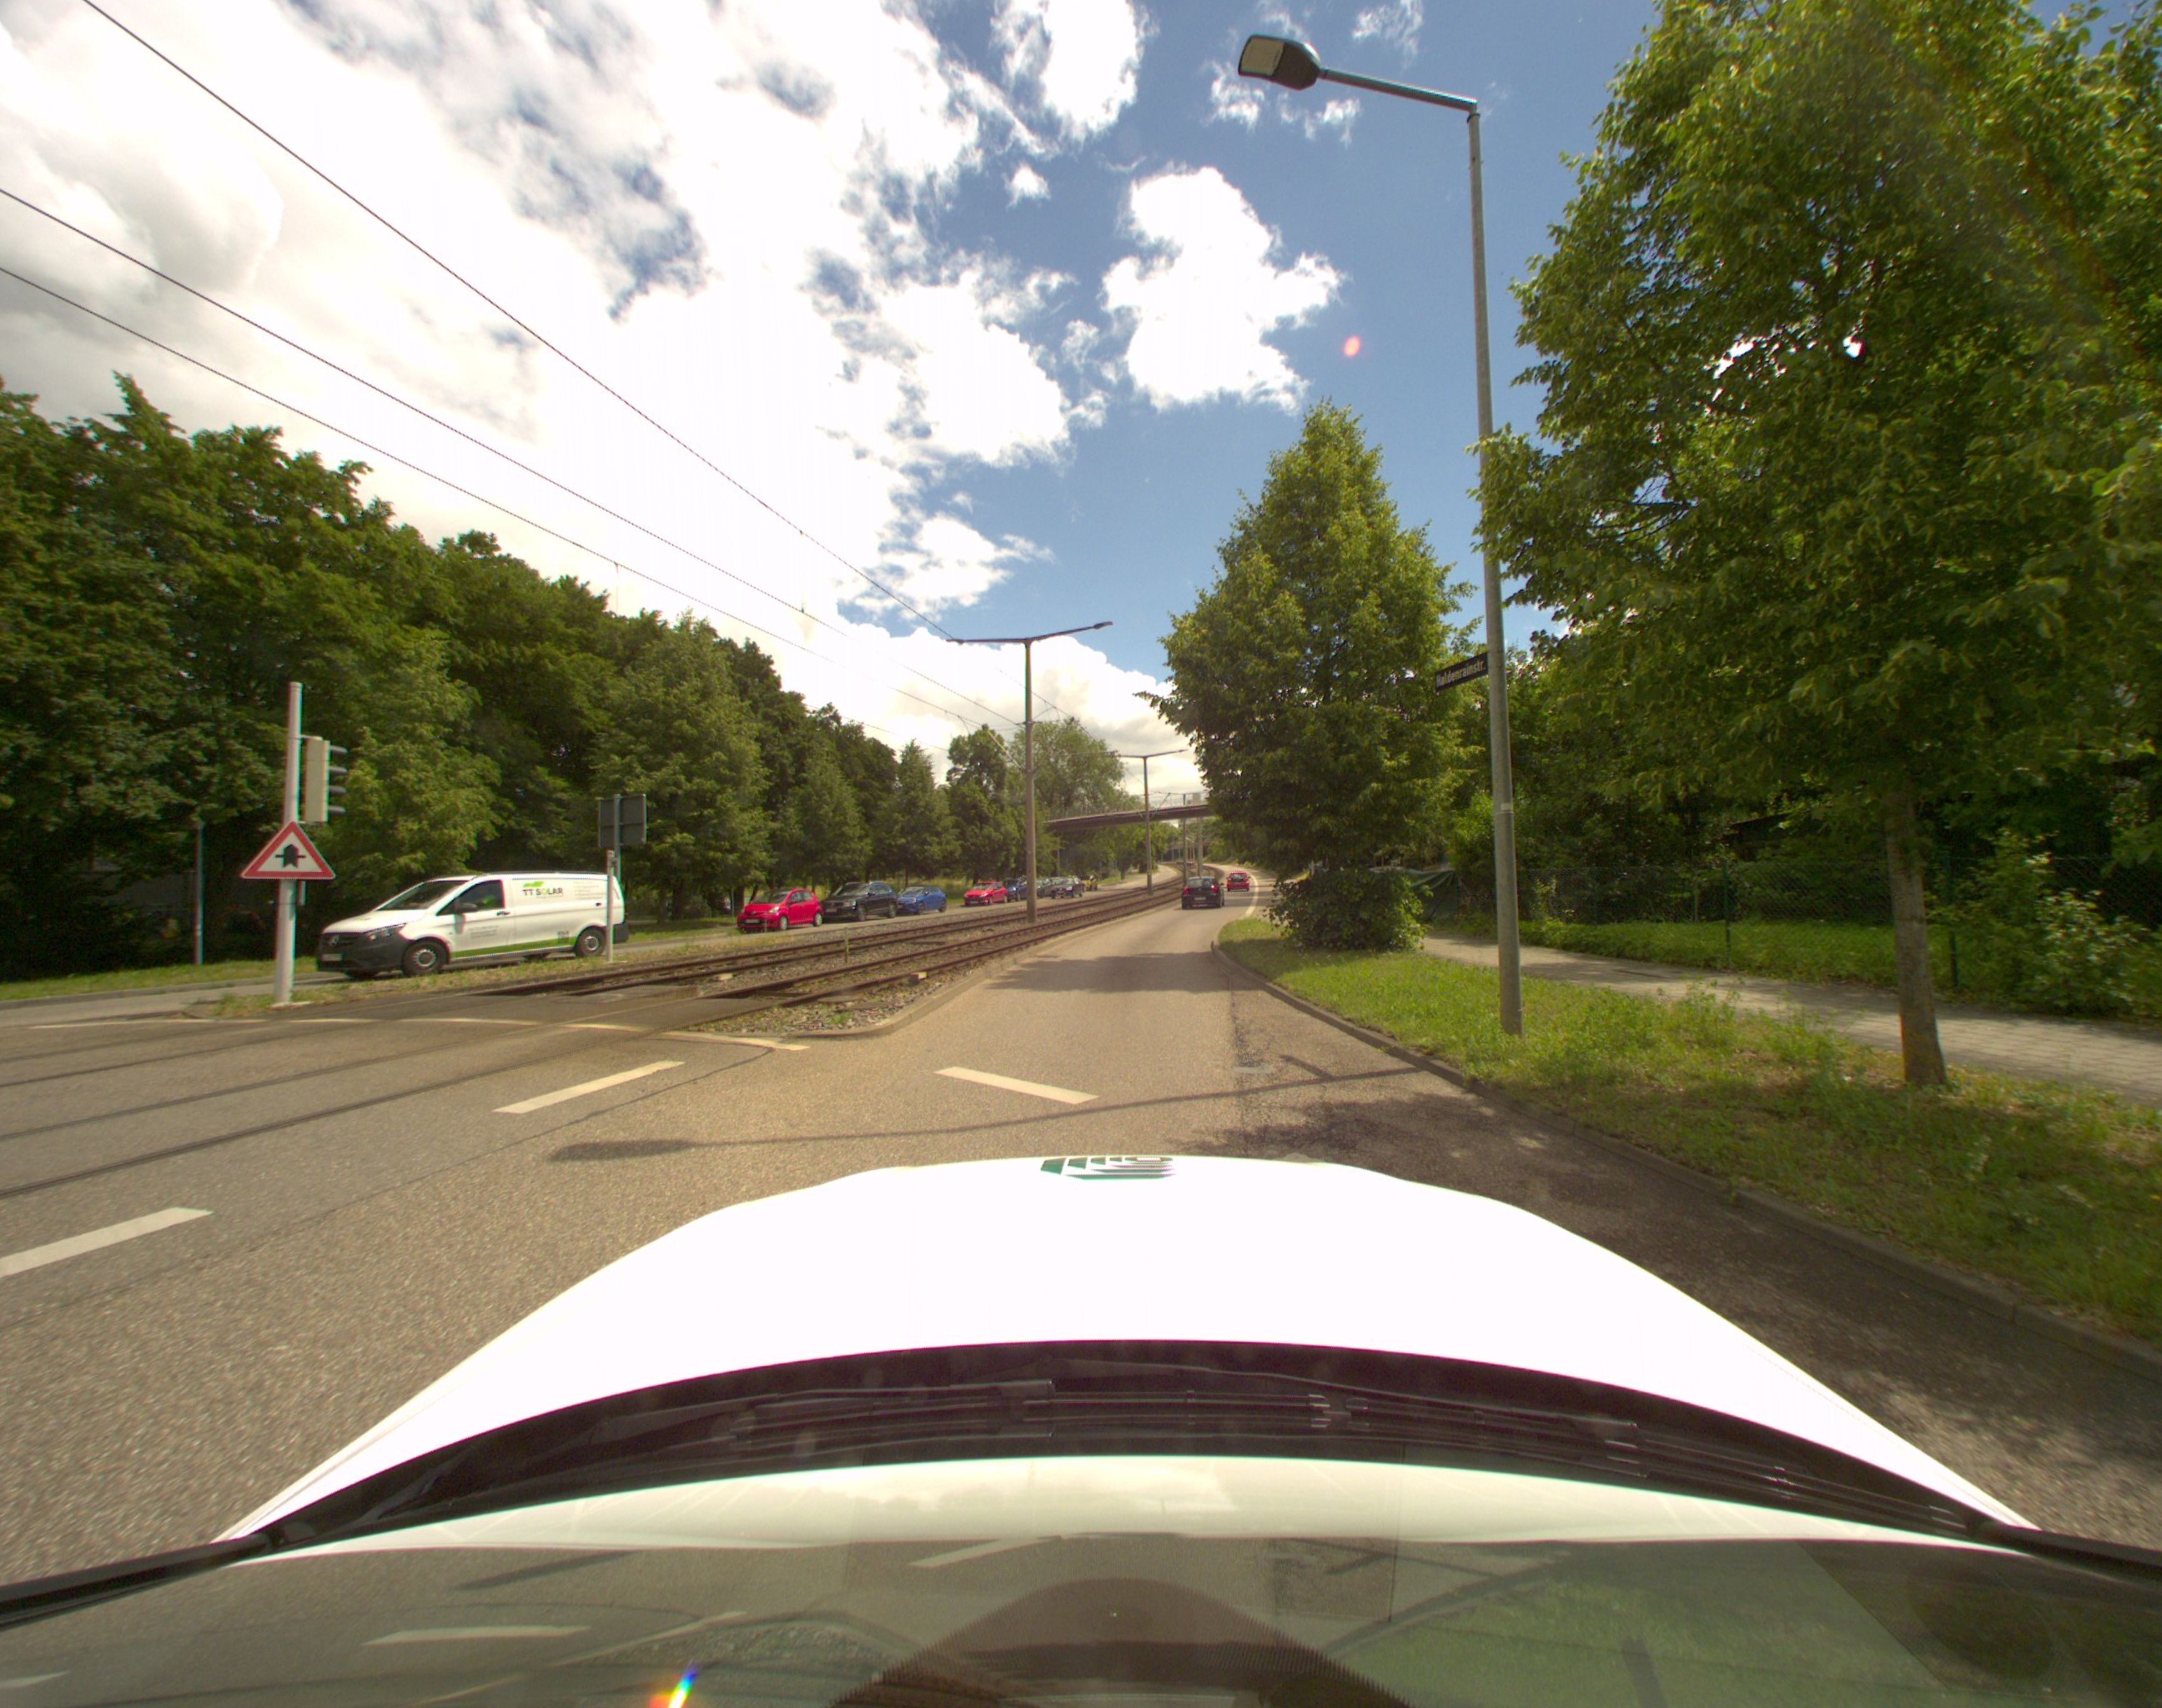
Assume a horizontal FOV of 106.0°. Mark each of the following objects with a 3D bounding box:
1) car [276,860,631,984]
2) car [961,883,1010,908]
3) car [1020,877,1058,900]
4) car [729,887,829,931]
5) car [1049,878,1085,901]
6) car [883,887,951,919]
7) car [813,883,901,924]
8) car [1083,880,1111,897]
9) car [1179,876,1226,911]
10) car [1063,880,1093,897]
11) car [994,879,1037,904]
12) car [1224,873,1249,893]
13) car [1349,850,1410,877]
[{"bbox_3d":[-11.863,1.255,16.018,1.859,2.019,5.259,-1,-3,20],"label":"car"},{"bbox_3d":[-5.779,2.529,49.593,1.601,1.494,4.062,0,-3,14],"label":"car"},{"bbox_3d":[-3.037,2.524,59.967,1.630,1.623,4.140,-2,-2,14],"label":"car"},{"bbox_3d":[-10.769,1.954,29.336,1.602,1.452,3.673,0,-3,12],"label":"car"},{"bbox_3d":[-0.932,2.514,57.738,1.602,1.574,4.013,0,-3,13],"label":"car"},{"bbox_3d":[-7.940,2.368,39.763,1.601,1.461,4.021,0,-3,14],"label":"car"},{"bbox_3d":[-9.348,2.065,34.425,1.569,1.606,4.390,0,-3,14],"label":"car"},{"bbox_3d":[1.498,3.195,75.323,1.677,1.451,3.912,0,-3,14],"label":"car"},{"bbox_3d":[5.532,1.753,36.720,1.696,1.460,3.974,0,-2,14],"label":"car"},{"bbox_3d":[-0.227,2.934,70.326,1.500,1.360,4.143,-2,-2,14],"label":"car"},{"bbox_3d":[-4.336,2.510,54.442,1.546,1.596,4.174,0,-3,14],"label":"car"},{"bbox_3d":[11.655,2.192,60.808,1.613,1.444,3.433,0,-3,14],"label":"car"},{"bbox_3d":[24.471,0.822,66.929,4.490,1.672,2.008,-6,-5,15],"label":"car"}]
